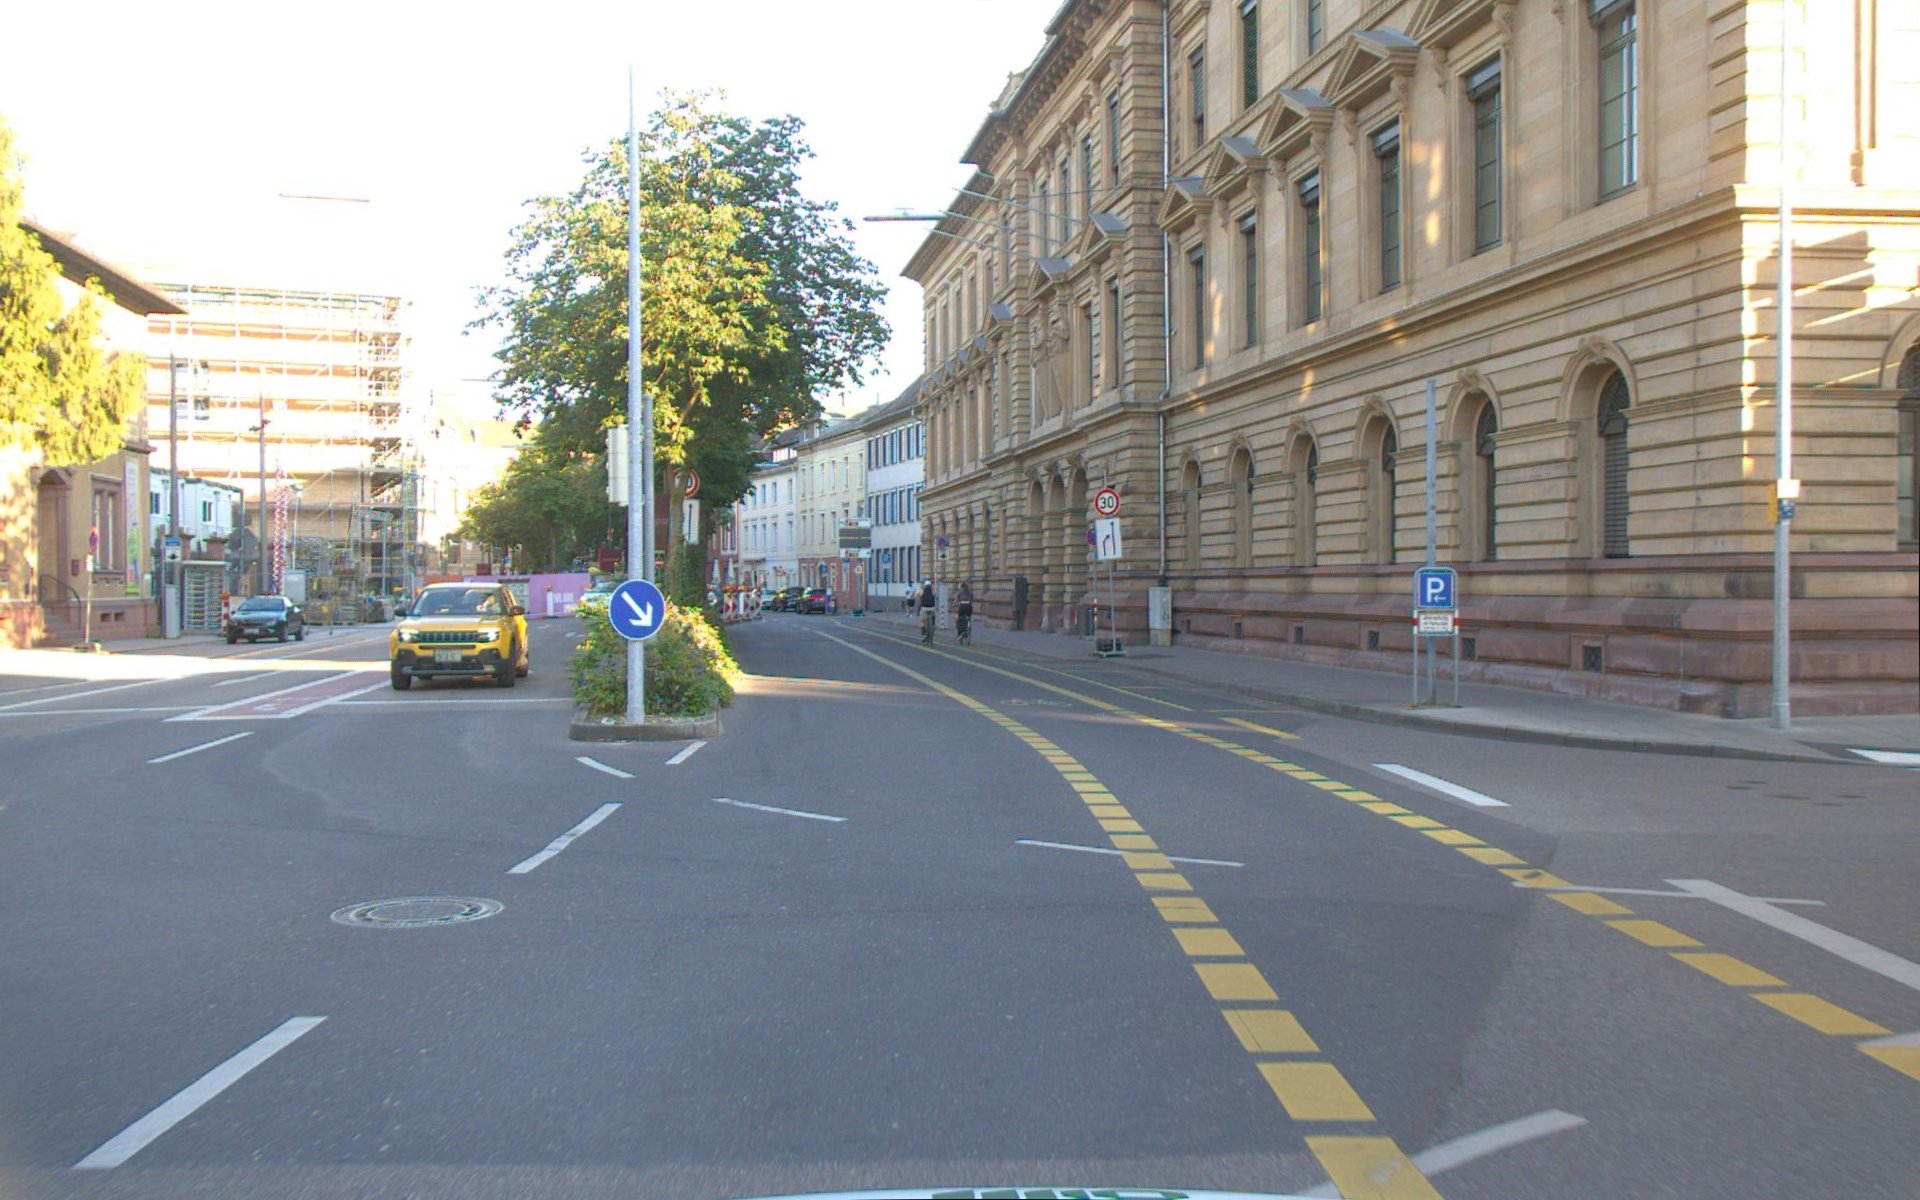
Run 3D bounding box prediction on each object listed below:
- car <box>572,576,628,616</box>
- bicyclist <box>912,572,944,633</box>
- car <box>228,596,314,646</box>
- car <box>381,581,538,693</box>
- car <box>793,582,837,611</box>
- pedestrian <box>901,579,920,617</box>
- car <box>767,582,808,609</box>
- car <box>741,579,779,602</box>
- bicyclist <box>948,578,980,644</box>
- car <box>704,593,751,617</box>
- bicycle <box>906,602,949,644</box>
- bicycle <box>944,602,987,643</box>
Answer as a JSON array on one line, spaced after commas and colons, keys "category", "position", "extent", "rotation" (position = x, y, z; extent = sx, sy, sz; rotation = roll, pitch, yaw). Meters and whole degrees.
[{"category": "car", "position": [-16.216, -0.179, 74.767], "extent": [1.806, 1.703, 4.552], "rotation": [-2, 1, -4]}, {"category": "bicyclist", "position": [-0.852, 0.077, 44.216], "extent": [0.658, 1.593, 0.695], "rotation": [2, -1, -16]}, {"category": "car", "position": [-20.775, 0.597, 49.977], "extent": [1.650, 1.374, 3.875], "rotation": [-2, 1, -12]}, {"category": "car", "position": [-7.695, 0.511, 25.763], "extent": [1.812, 1.574, 4.109], "rotation": [-1, 1, -10]}, {"category": "car", "position": [-8.920, -0.208, 101.264], "extent": [1.785, 1.712, 3.896], "rotation": [0, 0, -20]}, {"category": "pedestrian", "position": [-2.395, -0.094, 79.734], "extent": [0.801, 1.796, 1.037], "rotation": [1, 0, -5]}, {"category": "car", "position": [-11.407, -0.297, 108.971], "extent": [1.786, 1.713, 3.976], "rotation": [0, 0, -20]}, {"category": "car", "position": [-14.145, -0.641, 116.691], "extent": [1.787, 1.587, 3.840], "rotation": [0, 0, -21]}, {"category": "bicyclist", "position": [0.103, 0.290, 45.630], "extent": [0.638, 1.791, 0.861], "rotation": [2, 0, -14]}, {"category": "car", "position": [-15.646, 0.329, 111.065], "extent": [1.794, 1.587, 3.823], "rotation": [0, 0, -31]}, {"category": "bicycle", "position": [-0.884, 0.607, 44.273], "extent": [0.659, 1.089, 1.892], "rotation": [1, 0, -17]}, {"category": "bicycle", "position": [0.133, 0.607, 45.449], "extent": [0.642, 1.089, 2.250], "rotation": [2, 0, -14]}]
